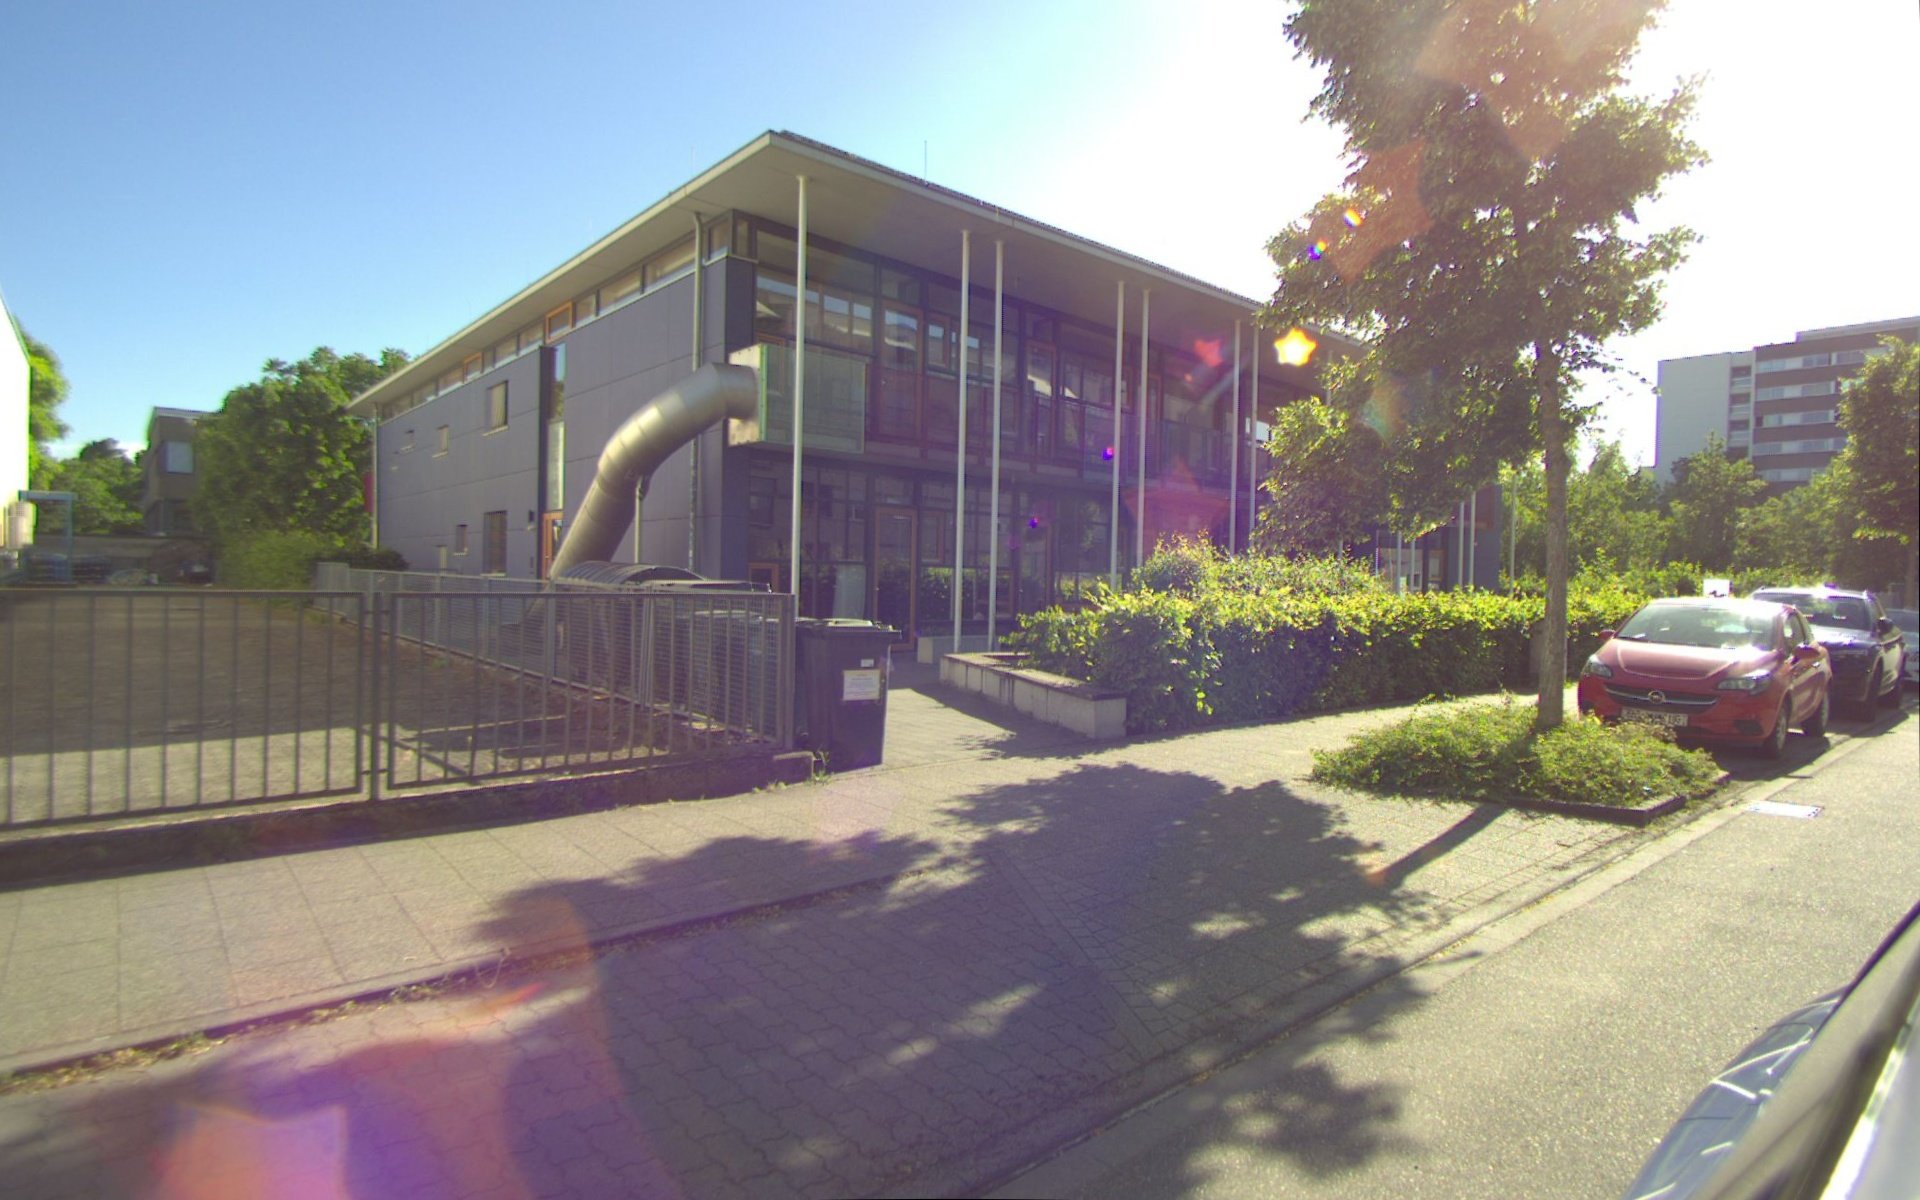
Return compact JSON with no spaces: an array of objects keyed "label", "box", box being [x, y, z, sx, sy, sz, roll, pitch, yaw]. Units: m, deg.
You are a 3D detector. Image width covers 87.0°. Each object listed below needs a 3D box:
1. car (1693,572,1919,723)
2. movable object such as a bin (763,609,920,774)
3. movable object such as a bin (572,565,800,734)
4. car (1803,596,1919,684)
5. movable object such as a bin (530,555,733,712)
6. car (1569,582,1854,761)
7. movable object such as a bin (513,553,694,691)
[{"label":"car","box":[12.031,0.532,14.091,4.333,1.703,1.905,0,4,-40]},{"label":"movable object such as a bin","box":[-0.865,0.627,7.439,0.962,1.083,0.633,-1,1,-41]},{"label":"movable object such as a bin","box":[-2.534,0.390,9.358,1.602,1.374,1.369,0,2,-40]},{"label":"car","box":[17.303,0.669,18.810,4.697,1.335,1.965,-1,5,-44]},{"label":"movable object such as a bin","box":[-3.408,0.292,10.491,1.602,1.466,1.369,0,2,-40]},{"label":"car","box":[8.074,0.614,10.754,3.780,1.522,1.678,0,2,-42]},{"label":"movable object such as a bin","box":[-4.125,0.209,11.713,1.602,1.466,1.333,0,2,-40]}]
